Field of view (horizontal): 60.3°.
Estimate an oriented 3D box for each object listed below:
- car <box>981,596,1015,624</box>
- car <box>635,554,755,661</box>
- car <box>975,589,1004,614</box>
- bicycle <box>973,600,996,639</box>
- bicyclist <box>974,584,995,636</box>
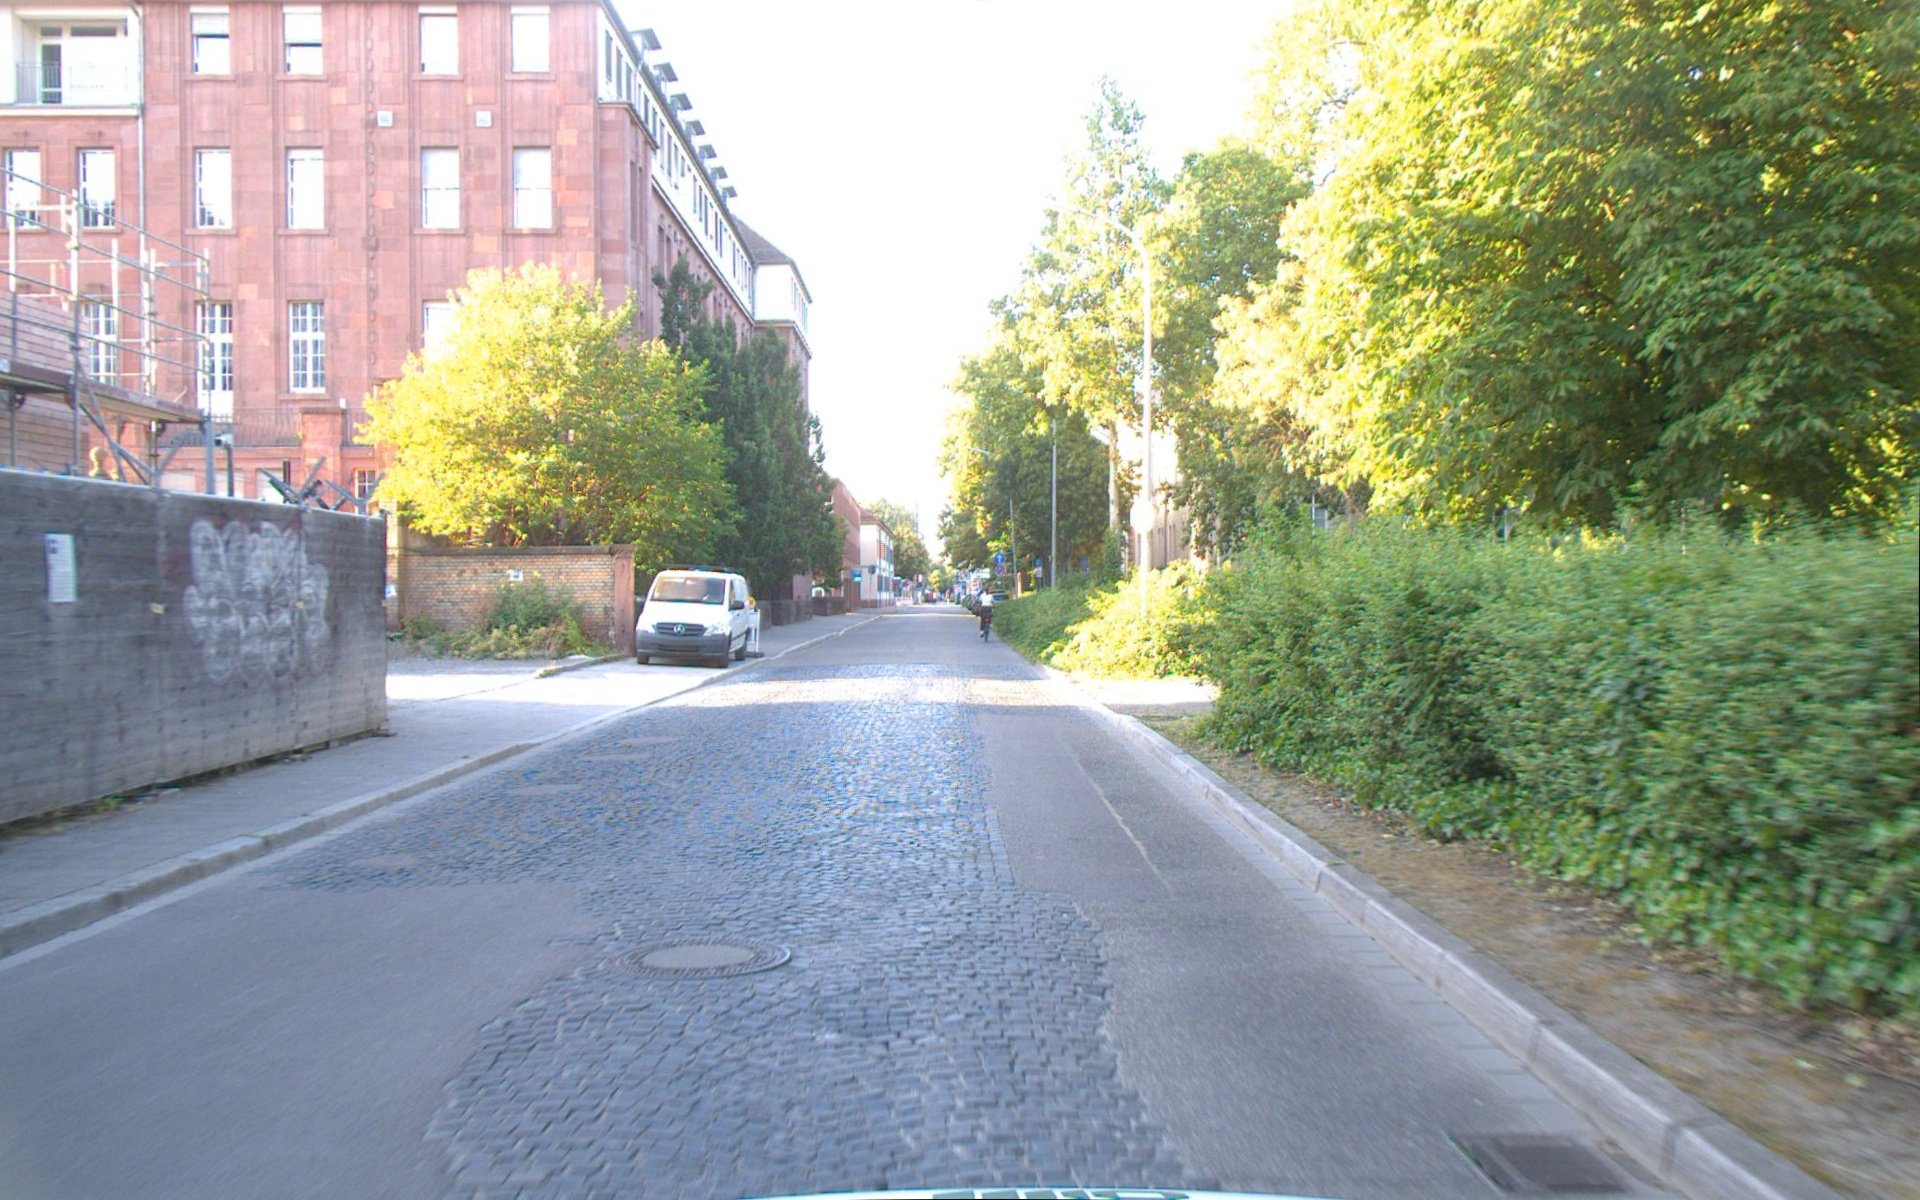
[{"bbox_3d":[2.138,0.578,94.170,1.652,1.472,3.670,-3,-1,-2],"label":"car"},{"bbox_3d":[-5.495,0.177,34.878,1.845,2.049,5.223,1,-1,-2],"label":"car"},{"bbox_3d":[1.912,0.075,108.127,1.681,1.564,4.047,0,0,-2],"label":"car"},{"bbox_3d":[0.796,0.631,54.051,0.625,1.214,1.875,1,0,-2],"label":"bicycle"},{"bbox_3d":[0.795,0.325,54.158,0.626,1.696,0.842,1,0,-2],"label":"bicyclist"}]
